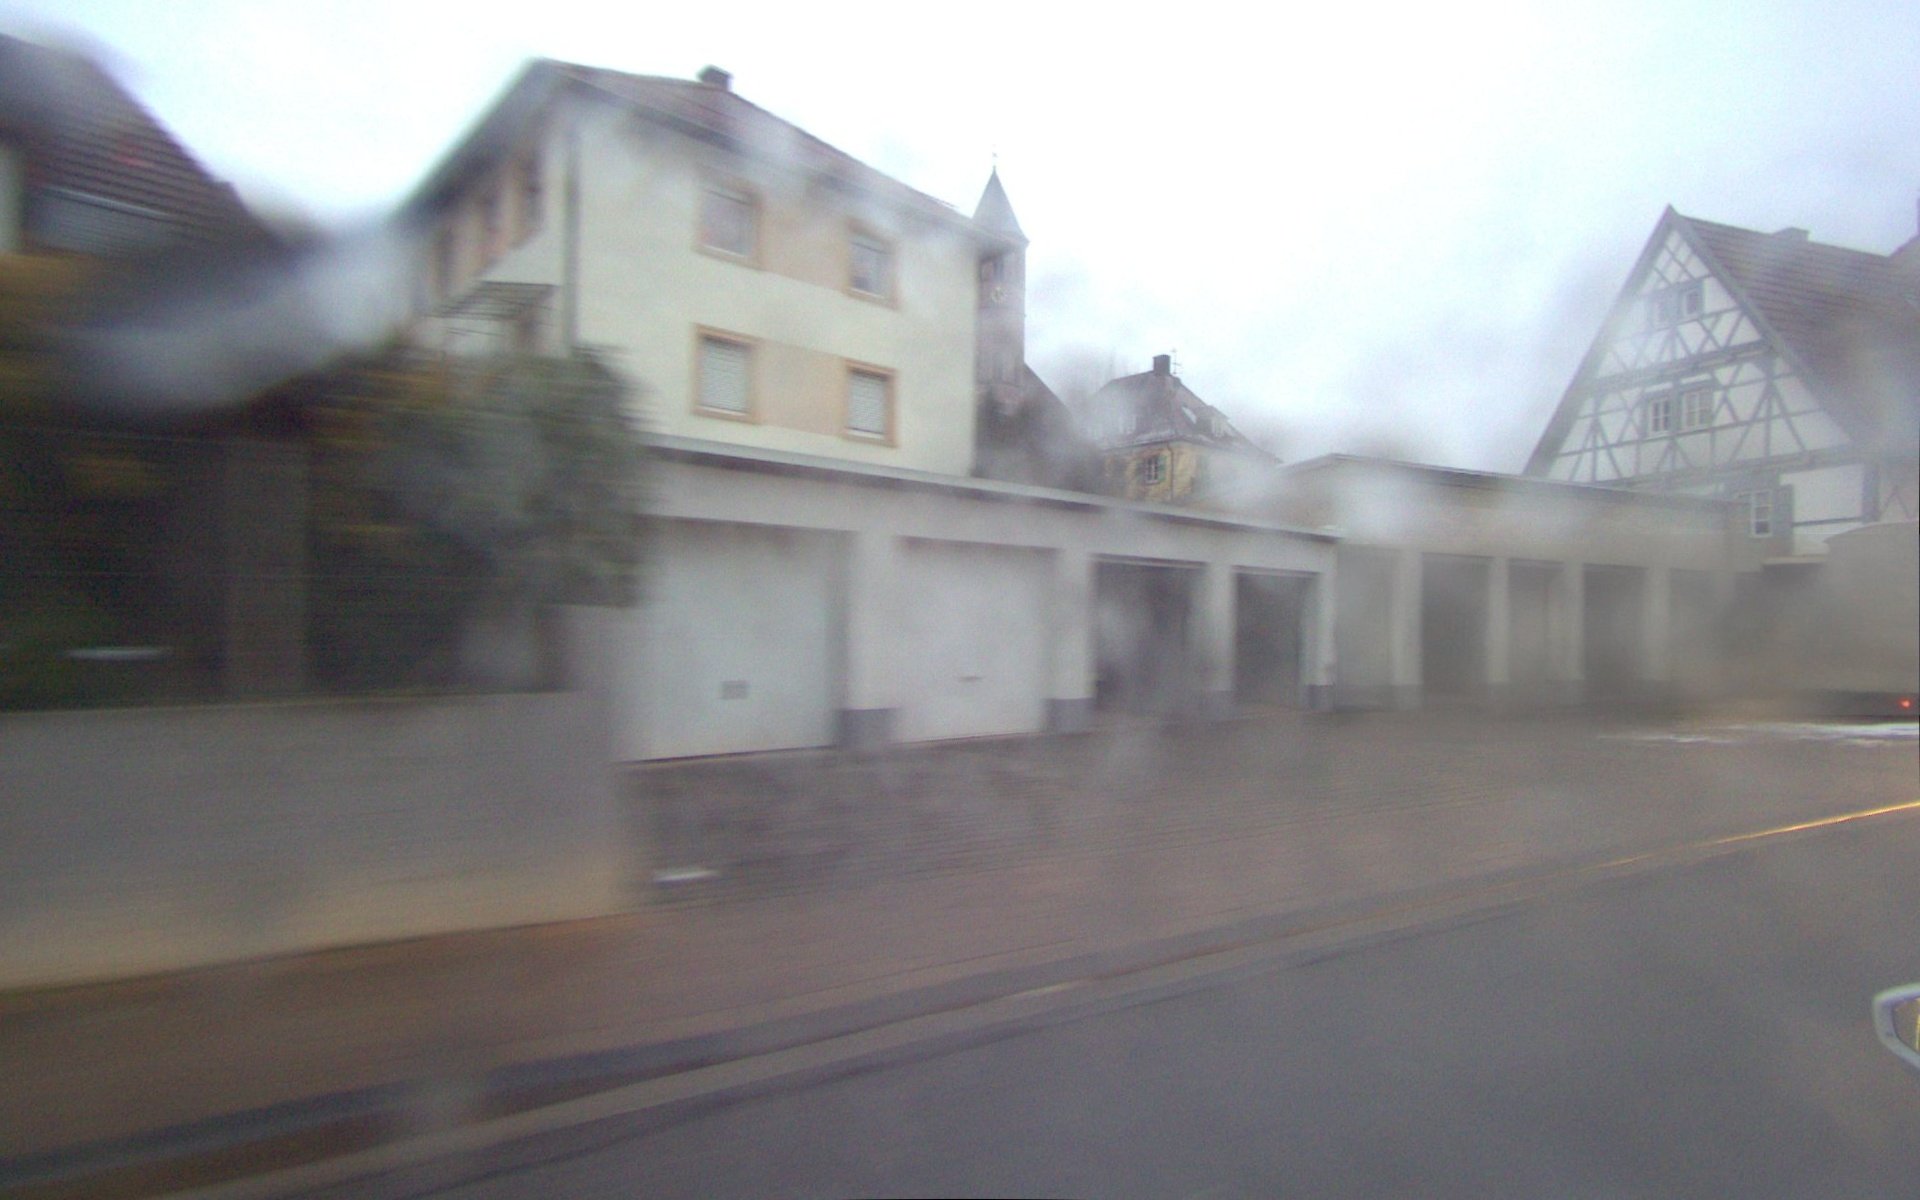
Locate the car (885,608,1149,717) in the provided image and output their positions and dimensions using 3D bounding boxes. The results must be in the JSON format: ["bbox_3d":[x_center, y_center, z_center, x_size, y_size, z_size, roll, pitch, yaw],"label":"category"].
[{"bbox_3d":[0.734,0.834,15.282,1.981,1.421,3.959,1,-1,-36],"label":"car"}]

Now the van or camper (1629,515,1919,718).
[{"bbox_3d":[14.782,0.331,16.403,2.372,2.993,6.049,1,-4,-23],"label":"van or camper"}]
